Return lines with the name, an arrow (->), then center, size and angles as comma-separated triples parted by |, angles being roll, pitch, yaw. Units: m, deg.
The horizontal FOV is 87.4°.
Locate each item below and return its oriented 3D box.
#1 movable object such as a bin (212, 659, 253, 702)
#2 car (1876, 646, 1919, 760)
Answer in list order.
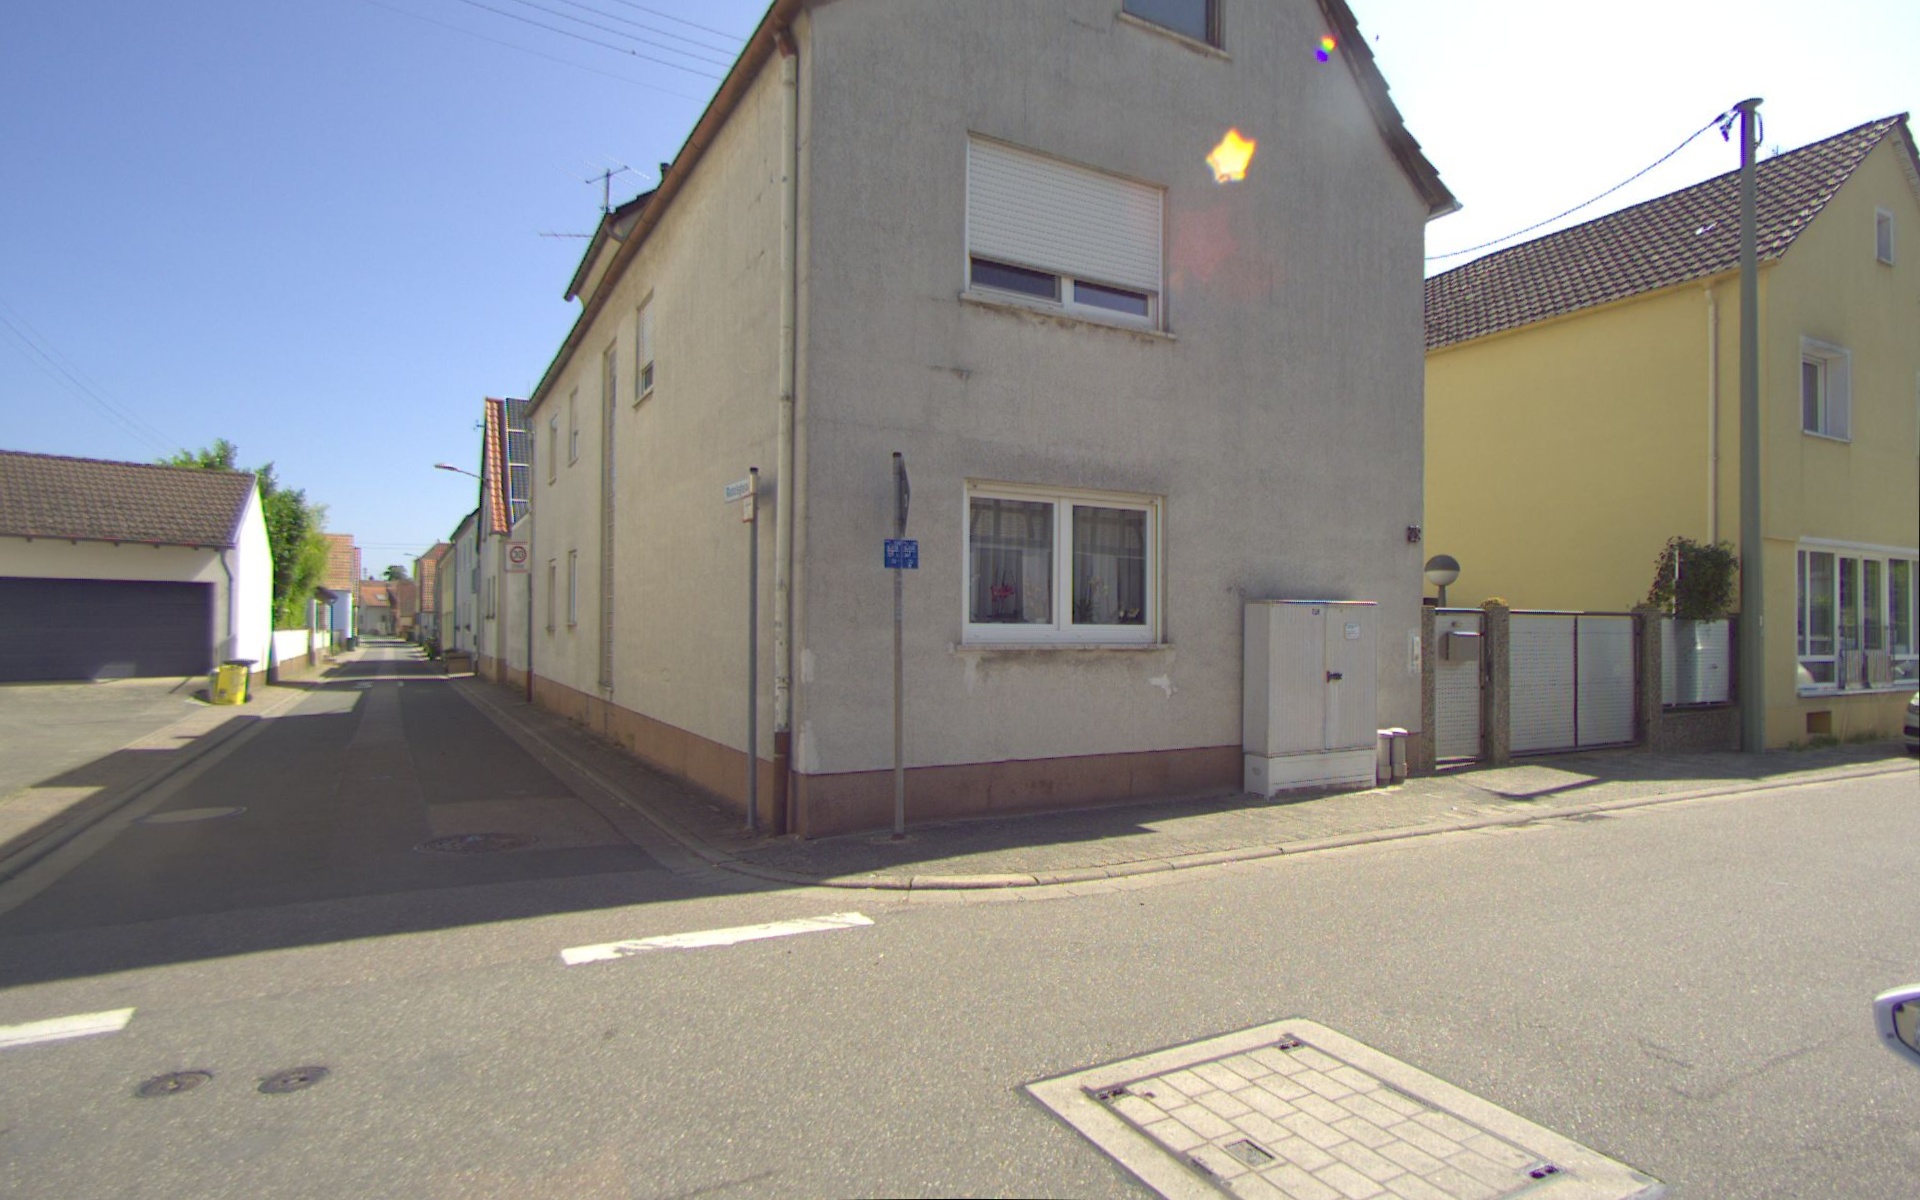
movable object such as a bin -> -15.289, 1.687, 21.116 | 0.577, 0.855, 0.636 | 4, -3, -30
car -> 14.593, 1.392, 13.851 | 4.223, 1.483, 1.825 | 2, -3, -32
